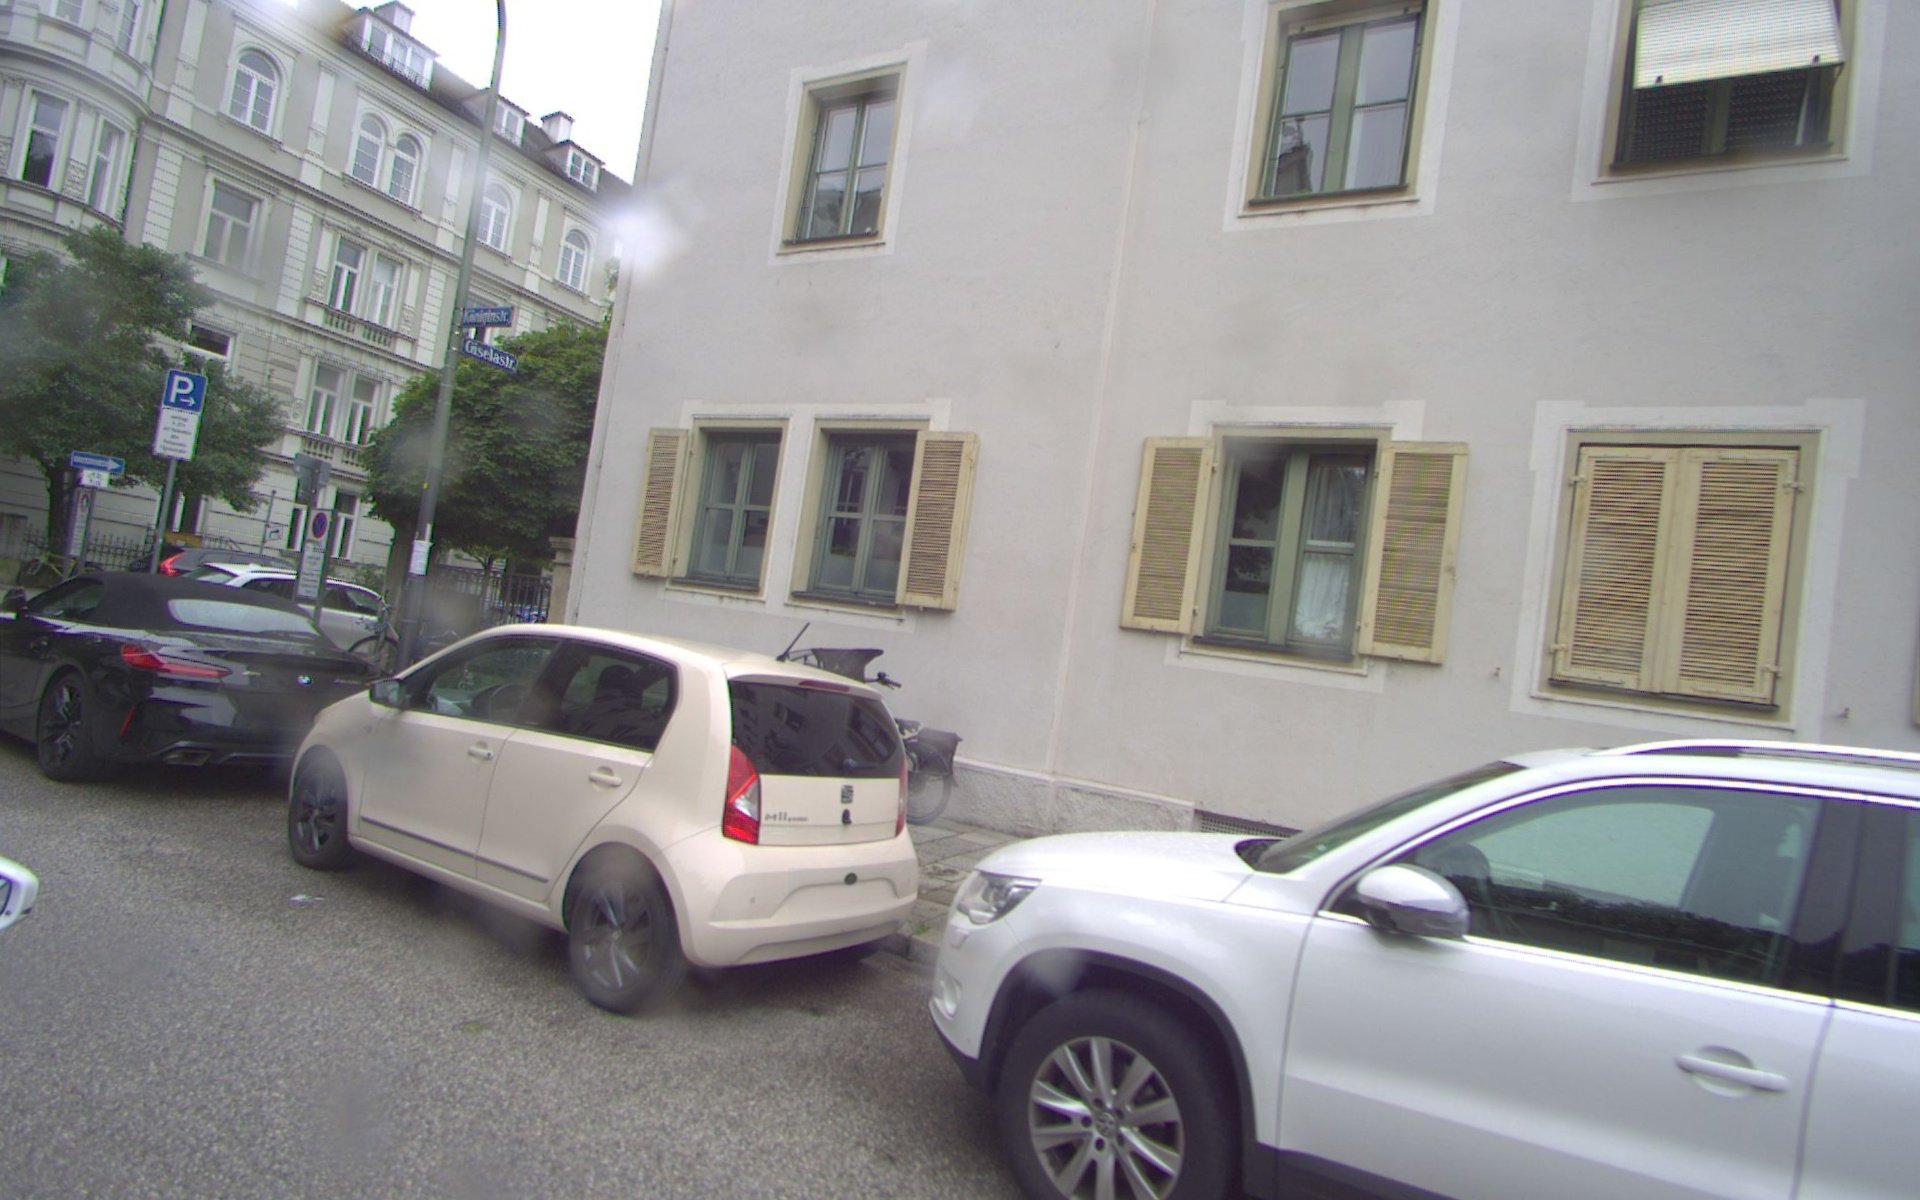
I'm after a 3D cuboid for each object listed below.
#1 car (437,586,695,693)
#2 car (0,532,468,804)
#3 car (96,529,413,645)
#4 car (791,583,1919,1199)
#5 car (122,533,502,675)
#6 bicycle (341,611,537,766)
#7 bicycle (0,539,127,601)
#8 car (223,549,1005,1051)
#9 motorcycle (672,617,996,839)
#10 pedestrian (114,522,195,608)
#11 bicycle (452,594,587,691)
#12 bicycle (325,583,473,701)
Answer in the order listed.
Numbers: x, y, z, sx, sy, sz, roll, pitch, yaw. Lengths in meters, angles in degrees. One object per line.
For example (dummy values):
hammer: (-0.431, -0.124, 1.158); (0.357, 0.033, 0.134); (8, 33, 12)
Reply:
car: (-8.143, 0.921, 21.348); (1.902, 1.522, 4.877); (8, -4, 29)
car: (-6.090, 0.333, 7.568); (4.517, 1.335, 2.004); (7, -1, 30)
car: (-14.623, -0.170, 21.254); (1.912, 1.668, 5.055); (3, -6, 29)
car: (1.992, 1.180, 2.964); (4.457, 1.723, 2.002); (7, -6, 30)
car: (-10.578, 0.190, 16.915); (1.880, 1.548, 4.922); (10, -2, 30)
bicycle: (-4.637, 0.757, 8.894); (1.909, 1.075, 0.663); (6, -3, 37)
bicycle: (-19.709, -0.640, 22.143); (0.548, 1.039, 1.926); (8, -3, 35)
car: (-1.884, 0.832, 5.316); (3.650, 1.559, 1.780); (6, -8, 32)
motorcycle: (-1.152, 1.065, 8.883); (2.660, 1.449, 0.860); (7, -3, 28)
pedestrian: (-17.795, -0.764, 22.234); (0.846, 1.708, 0.974); (7, -2, 31)
bicycle: (-6.872, 0.700, 15.812); (0.459, 1.289, 1.921); (8, -4, 27)
bicycle: (-7.007, 0.521, 12.548); (1.745, 1.239, 0.544); (6, -3, 25)
